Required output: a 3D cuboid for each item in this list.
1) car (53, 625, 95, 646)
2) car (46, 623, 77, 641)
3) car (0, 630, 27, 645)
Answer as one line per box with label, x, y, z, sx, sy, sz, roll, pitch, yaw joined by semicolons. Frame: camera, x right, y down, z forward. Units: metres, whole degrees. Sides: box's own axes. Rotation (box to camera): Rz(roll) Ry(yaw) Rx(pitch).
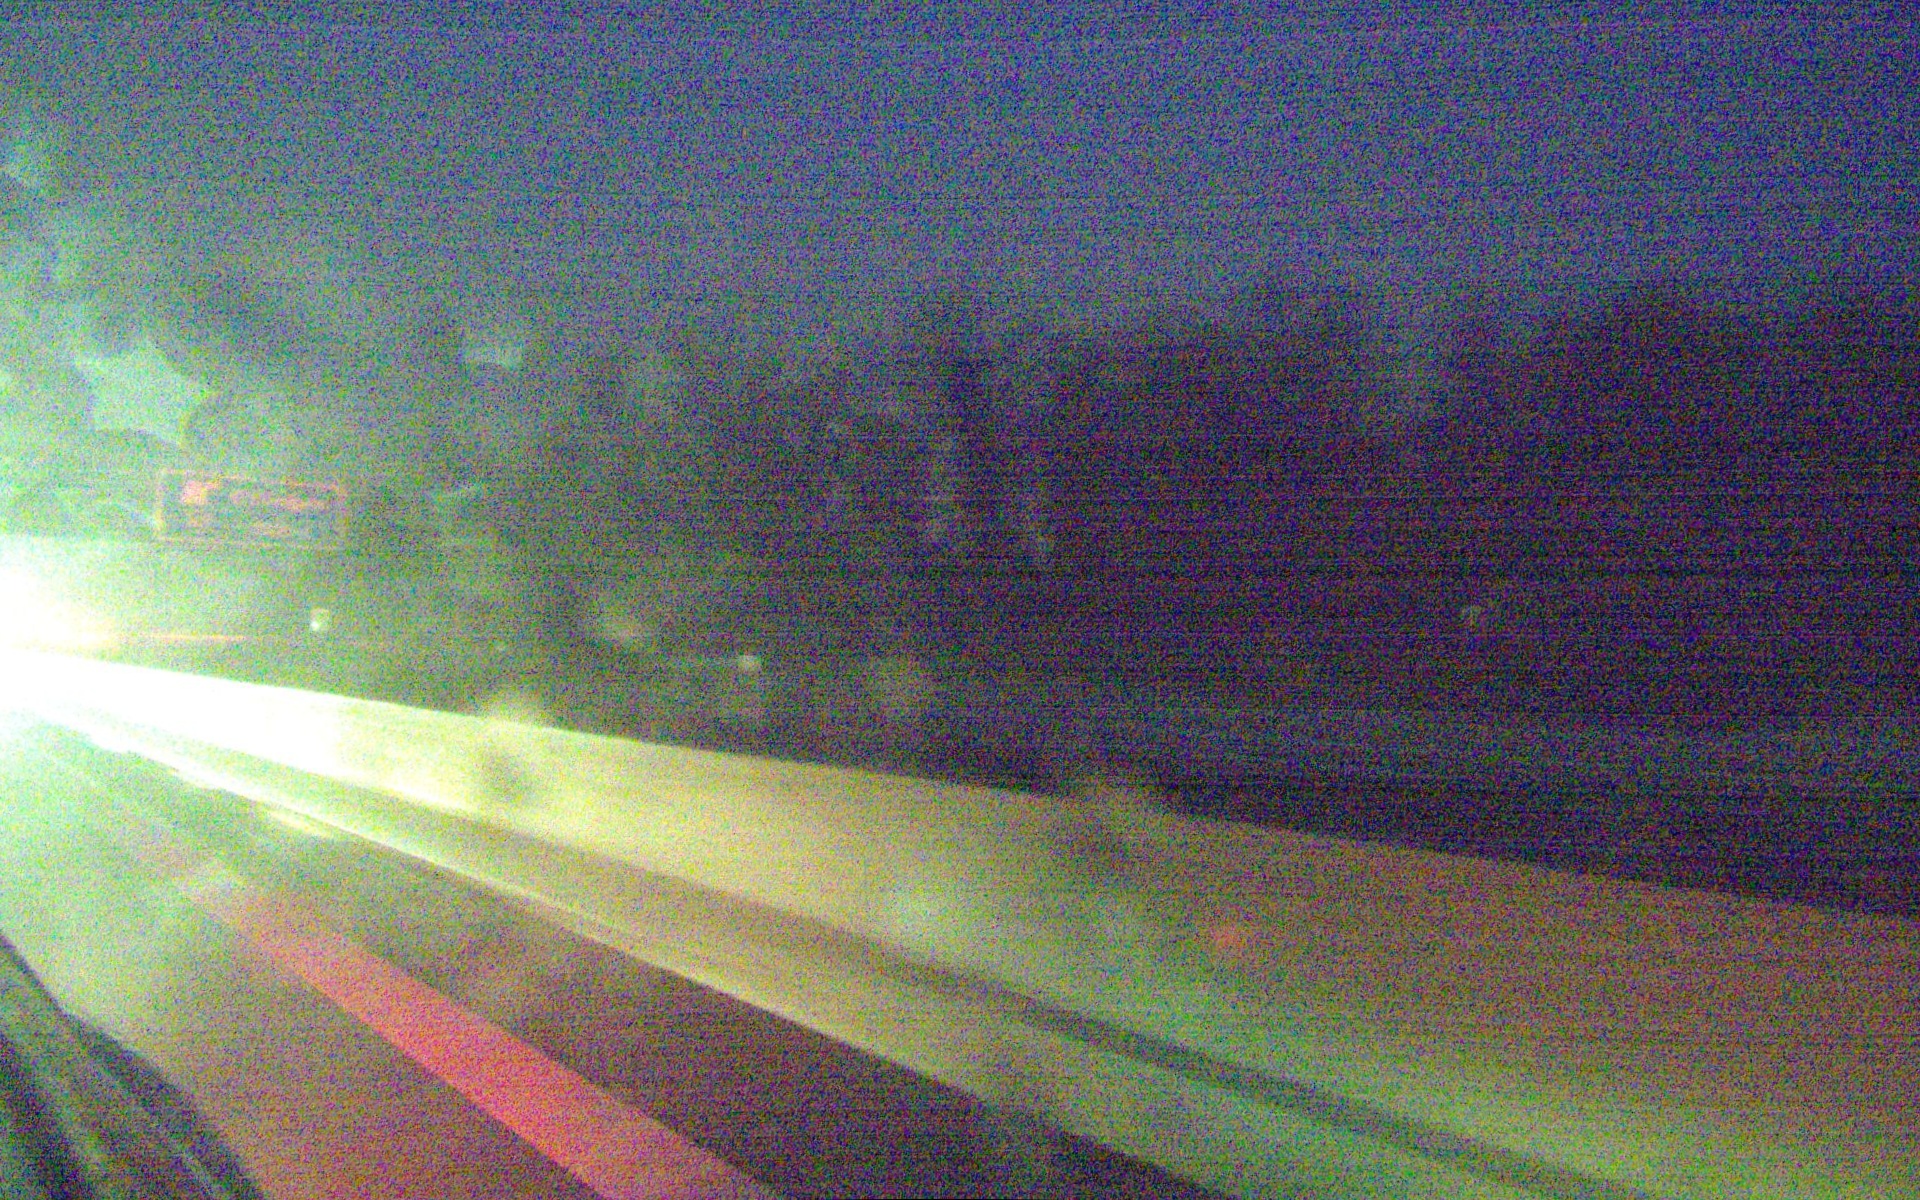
car;-66.584;2.645;76.013;4.378;1.538;1.766;-1;0;41
car;-122.577;4.393;138.018;7.145;2.462;2.355;-2;-4;42
car;-96.773;3.867;103.443;3.793;1.519;1.715;-2;-4;42
